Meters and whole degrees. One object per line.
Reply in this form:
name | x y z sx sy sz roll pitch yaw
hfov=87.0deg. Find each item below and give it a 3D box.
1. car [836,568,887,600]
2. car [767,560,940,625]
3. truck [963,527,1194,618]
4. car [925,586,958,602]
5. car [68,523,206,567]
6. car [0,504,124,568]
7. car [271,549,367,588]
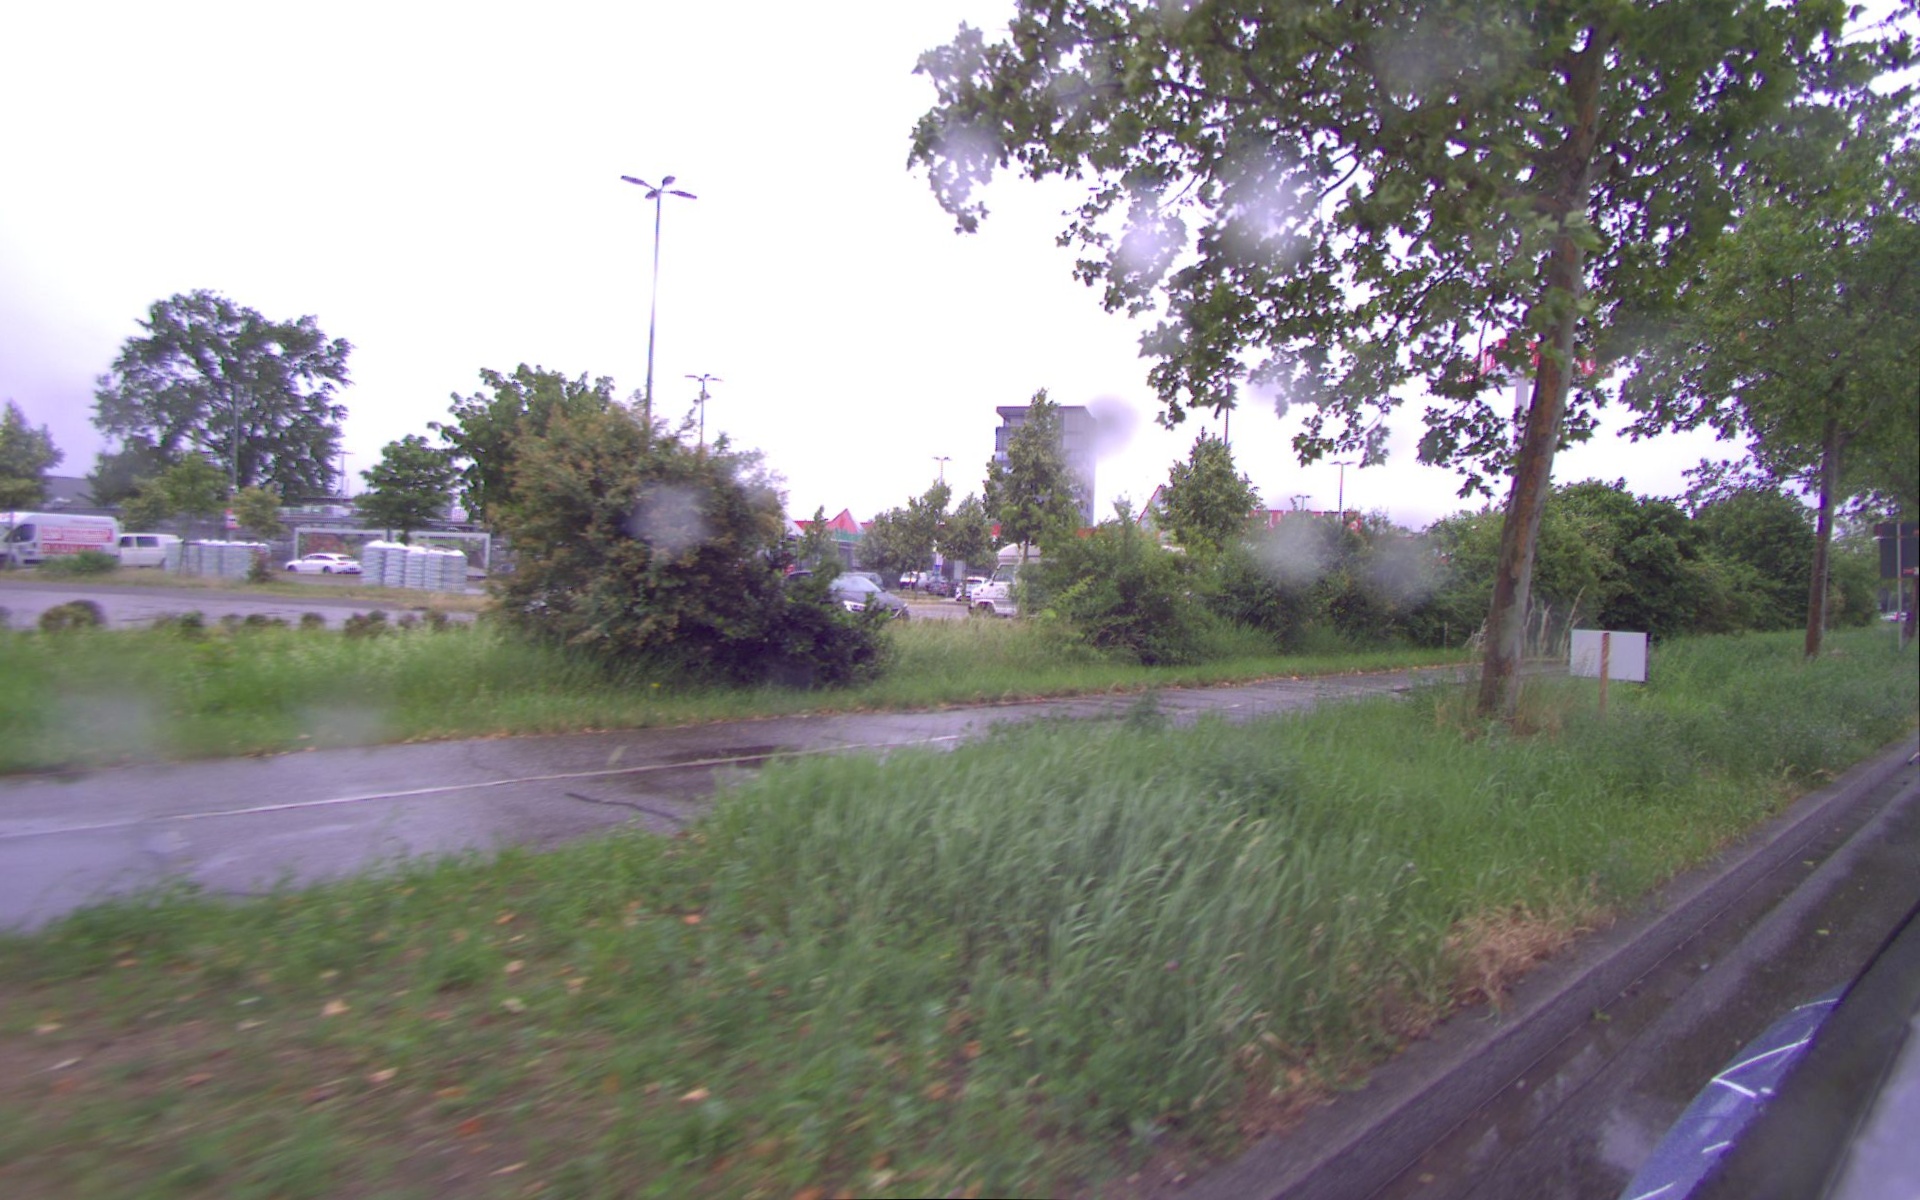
car | -5.735 -0.979 59.457 1.968 1.738 3.989 2 2 10
car | -2.535 -0.185 23.494 1.967 1.382 3.990 -1 1 -44
truck | 3.214 -0.744 28.747 6.530 2.333 2.186 1 1 43
car | -1.616 -0.508 88.057 1.834 1.373 3.856 1 1 15
car | -44.733 -2.910 55.195 1.977 2.170 5.628 0 1 23
car | -37.334 -2.514 40.813 1.969 2.364 5.652 0 1 11
car | -38.666 -1.928 61.080 5.085 2.229 2.072 1 3 17
